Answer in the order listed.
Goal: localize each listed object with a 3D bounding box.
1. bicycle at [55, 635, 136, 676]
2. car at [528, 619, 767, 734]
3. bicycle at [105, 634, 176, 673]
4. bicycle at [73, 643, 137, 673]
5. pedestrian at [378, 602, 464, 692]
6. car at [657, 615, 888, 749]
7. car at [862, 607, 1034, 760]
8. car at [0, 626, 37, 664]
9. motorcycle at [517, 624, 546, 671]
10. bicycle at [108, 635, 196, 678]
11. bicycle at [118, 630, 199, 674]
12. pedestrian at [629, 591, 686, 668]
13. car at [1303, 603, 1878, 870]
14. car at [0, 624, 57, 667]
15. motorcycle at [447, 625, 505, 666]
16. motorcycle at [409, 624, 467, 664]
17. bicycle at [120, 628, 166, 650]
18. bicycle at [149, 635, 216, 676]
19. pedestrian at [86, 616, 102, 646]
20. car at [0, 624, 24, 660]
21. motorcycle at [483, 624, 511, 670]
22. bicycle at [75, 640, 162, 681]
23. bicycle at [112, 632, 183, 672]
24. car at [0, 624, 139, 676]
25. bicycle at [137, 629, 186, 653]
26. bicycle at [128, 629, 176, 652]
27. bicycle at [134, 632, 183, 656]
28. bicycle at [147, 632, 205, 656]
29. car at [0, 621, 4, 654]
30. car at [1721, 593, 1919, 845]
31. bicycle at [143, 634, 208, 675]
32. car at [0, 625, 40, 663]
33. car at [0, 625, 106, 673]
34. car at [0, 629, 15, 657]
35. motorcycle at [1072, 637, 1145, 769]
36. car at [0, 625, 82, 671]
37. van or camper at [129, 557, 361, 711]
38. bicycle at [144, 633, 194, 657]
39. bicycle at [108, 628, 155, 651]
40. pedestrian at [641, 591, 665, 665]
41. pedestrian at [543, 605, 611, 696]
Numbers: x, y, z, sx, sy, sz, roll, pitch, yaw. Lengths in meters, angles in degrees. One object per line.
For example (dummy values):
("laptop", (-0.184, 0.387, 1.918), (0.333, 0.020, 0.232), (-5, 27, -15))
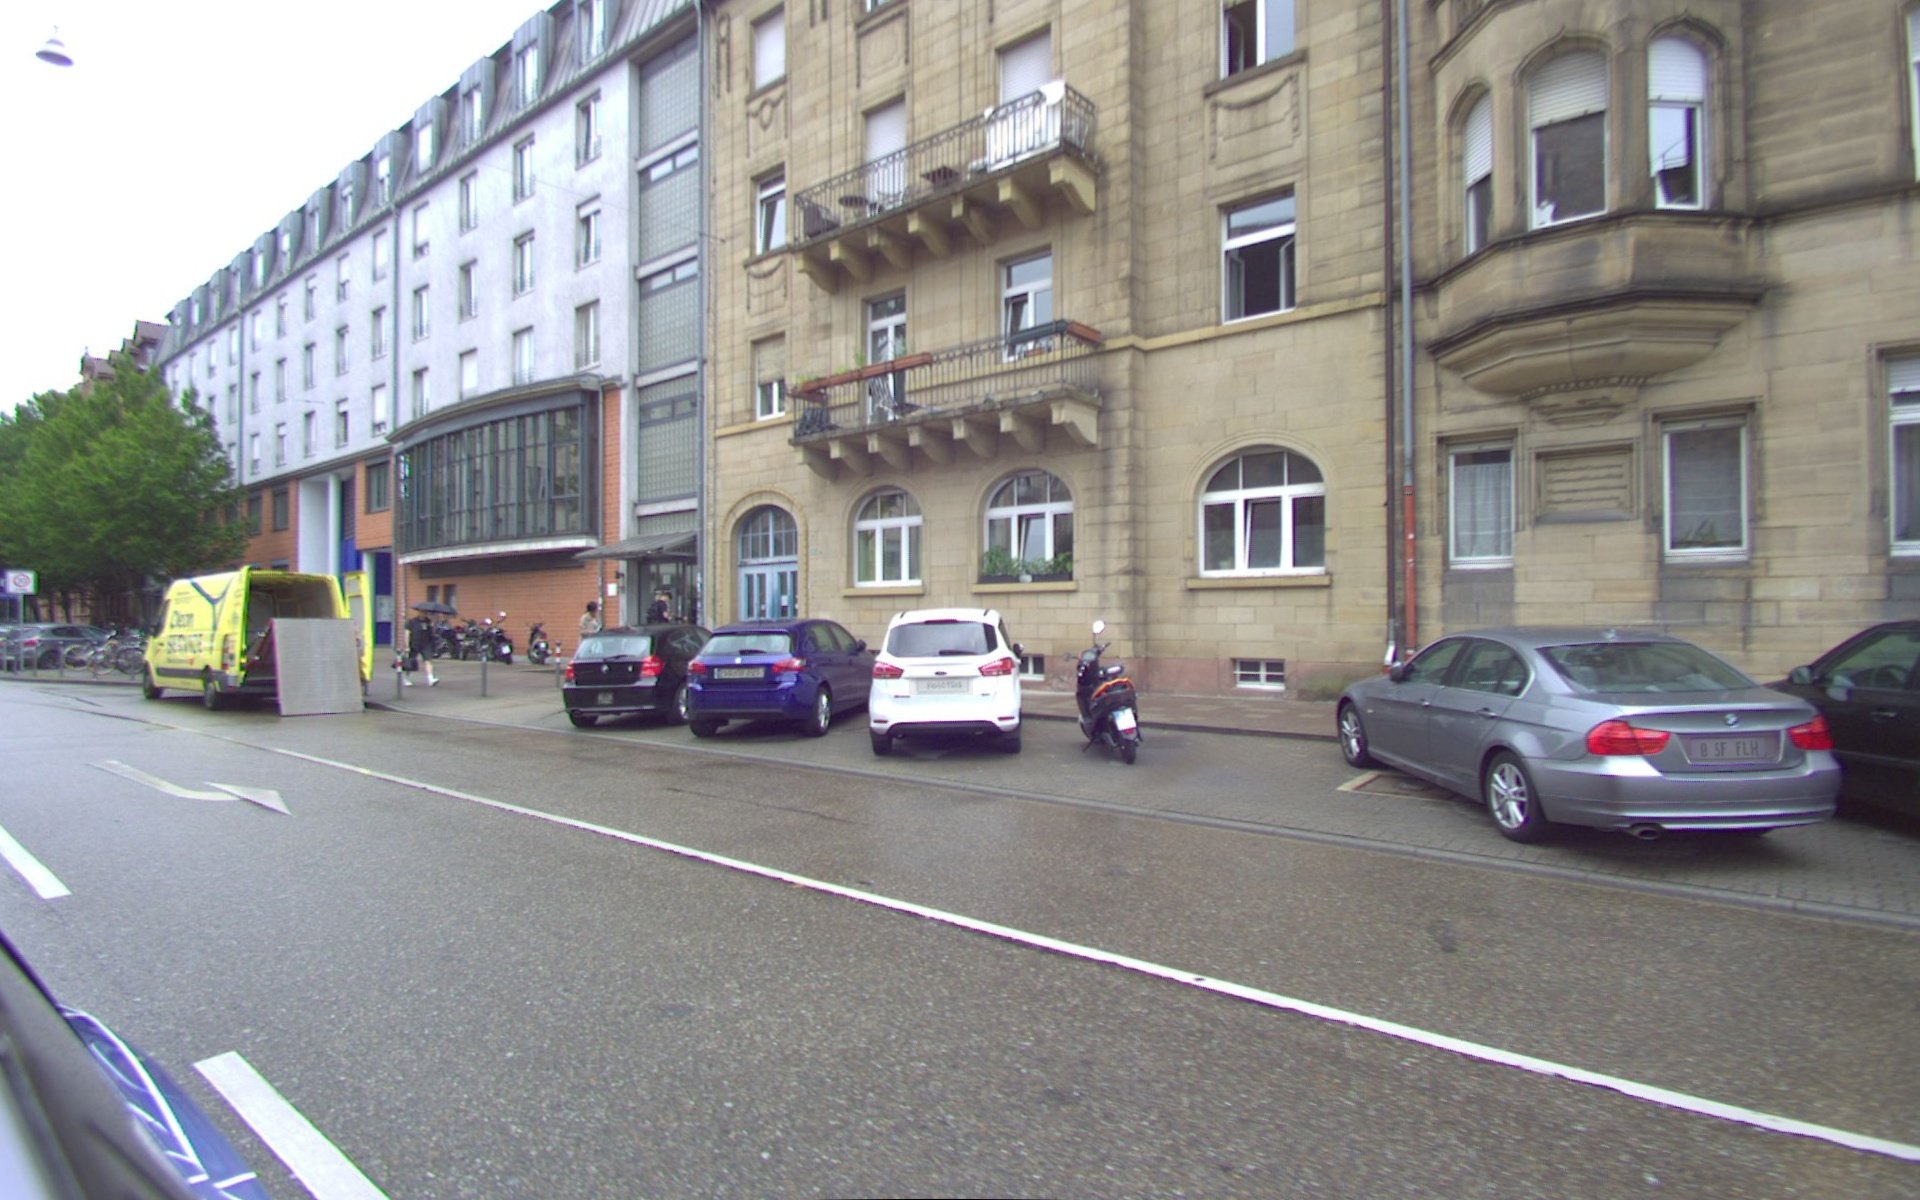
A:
("bicycle", (-25.759, 1.631, 30.186), (0.472, 1.114, 1.791), (-1, 0, 36))
("car", (-4.602, 1.078, 15.576), (1.780, 1.523, 4.028), (0, -2, 12))
("bicycle", (-24.729, 1.594, 30.571), (0.519, 1.114, 1.591), (-1, -1, 36))
("bicycle", (-26.300, 1.773, 31.148), (0.498, 0.811, 1.454), (-1, 0, 43))
("pedestrian", (-11.612, 0.982, 21.824), (1.061, 1.860, 1.336), (-2, -1, 41))
("car", (-2.424, 1.035, 14.184), (1.780, 1.585, 4.028), (0, -2, 12))
("car", (-0.102, 0.922, 12.462), (1.774, 1.567, 4.042), (0, -2, 1))
("car", (-38.134, 1.775, 39.927), (1.177, 1.462, 2.501), (-1, -1, 0))
("motorcycle", (-11.356, 1.228, 26.801), (0.516, 1.190, 1.763), (0, -1, -30))
("bicycle", (-21.996, 1.510, 27.576), (1.832, 1.081, 0.610), (0, -1, -44))
("bicycle", (-23.248, 1.483, 29.401), (0.518, 1.203, 1.797), (-1, 0, 27))
("pedestrian", (-7.008, 0.687, 23.453), (0.785, 1.741, 0.997), (-1, -2, 32))
("car", (4.458, 0.859, 8.197), (1.664, 1.557, 4.549), (0, -2, -2))
("car", (-35.753, 1.695, 37.742), (1.432, 1.564, 3.078), (-1, -1, 0))
("motorcycle", (-14.121, 1.309, 29.515), (2.203, 1.165, 0.643), (-2, -1, 39))
("motorcycle", (-15.959, 1.328, 30.920), (2.273, 1.165, 0.827), (-2, -1, 43))
("bicycle", (-37.812, 1.807, 46.856), (0.464, 0.992, 1.573), (-1, -2, 33))
("bicycle", (-21.875, 1.556, 28.492), (0.418, 1.072, 1.442), (-1, -1, 44))
("pedestrian", (-46.850, 1.697, 54.758), (0.533, 1.609, 0.564), (-2, -2, 42))
("car", (-42.075, 1.818, 43.417), (1.138, 1.567, 2.672), (-1, -1, 12))
("motorcycle", (-12.723, 1.265, 27.806), (0.516, 1.190, 2.010), (0, -1, -30))
("bicycle", (-22.996, 1.638, 27.692), (0.519, 1.001, 1.778), (-1, -1, 38))
("bicycle", (-24.235, 1.545, 30.210), (0.518, 1.114, 1.596), (-1, 0, 27))
("car", (-28.996, 1.563, 32.694), (1.721, 1.514, 3.613), (0, -1, 9))
("bicycle", (-34.631, 1.768, 43.908), (0.444, 0.992, 1.573), (-1, -2, 33))
("bicycle", (-35.581, 1.775, 44.590), (0.464, 0.992, 1.573), (-1, -2, 33))
("bicycle", (-34.301, 1.871, 43.335), (0.444, 0.992, 1.573), (-1, -2, 33))
("bicycle", (-32.421, 1.809, 41.861), (0.444, 0.992, 1.830), (-1, -2, 33))
("car", (-57.564, 2.128, 57.883), (1.666, 1.910, 4.329), (0, -2, 0))
("car", (6.924, 0.760, 6.398), (1.584, 1.610, 3.551), (0, -2, 2))
("bicycle", (-22.465, 1.556, 28.996), (1.439, 1.111, 0.462), (0, -1, -35))
("car", (-39.986, 1.819, 41.618), (1.358, 1.567, 2.970), (-1, -1, 12))
("car", (-31.274, 1.633, 34.530), (1.436, 1.514, 3.069), (-1, -1, 9))
("car", (-52.402, 2.259, 53.529), (1.663, 1.502, 3.798), (1, -2, -9))
("motorcycle", (1.530, 1.020, 10.636), (0.626, 1.170, 1.870), (0, 1, 4))
("car", (-33.355, 1.683, 36.108), (1.432, 1.514, 3.078), (-1, -1, 0))
("van or camper", (-14.277, 0.674, 20.050), (5.935, 2.631, 2.174), (-1, -3, 39))
("bicycle", (-32.858, 1.859, 42.076), (0.444, 0.992, 1.573), (-1, -2, 33))
("bicycle", (-37.516, 1.783, 45.827), (0.464, 0.992, 1.573), (-1, -2, 33))
("pedestrian", (-7.332, 0.671, 24.162), (0.467, 1.761, 0.608), (1, -3, -23))
("pedestrian", (-7.641, 0.986, 20.168), (1.171, 1.741, 0.777), (-2, -1, 40))
